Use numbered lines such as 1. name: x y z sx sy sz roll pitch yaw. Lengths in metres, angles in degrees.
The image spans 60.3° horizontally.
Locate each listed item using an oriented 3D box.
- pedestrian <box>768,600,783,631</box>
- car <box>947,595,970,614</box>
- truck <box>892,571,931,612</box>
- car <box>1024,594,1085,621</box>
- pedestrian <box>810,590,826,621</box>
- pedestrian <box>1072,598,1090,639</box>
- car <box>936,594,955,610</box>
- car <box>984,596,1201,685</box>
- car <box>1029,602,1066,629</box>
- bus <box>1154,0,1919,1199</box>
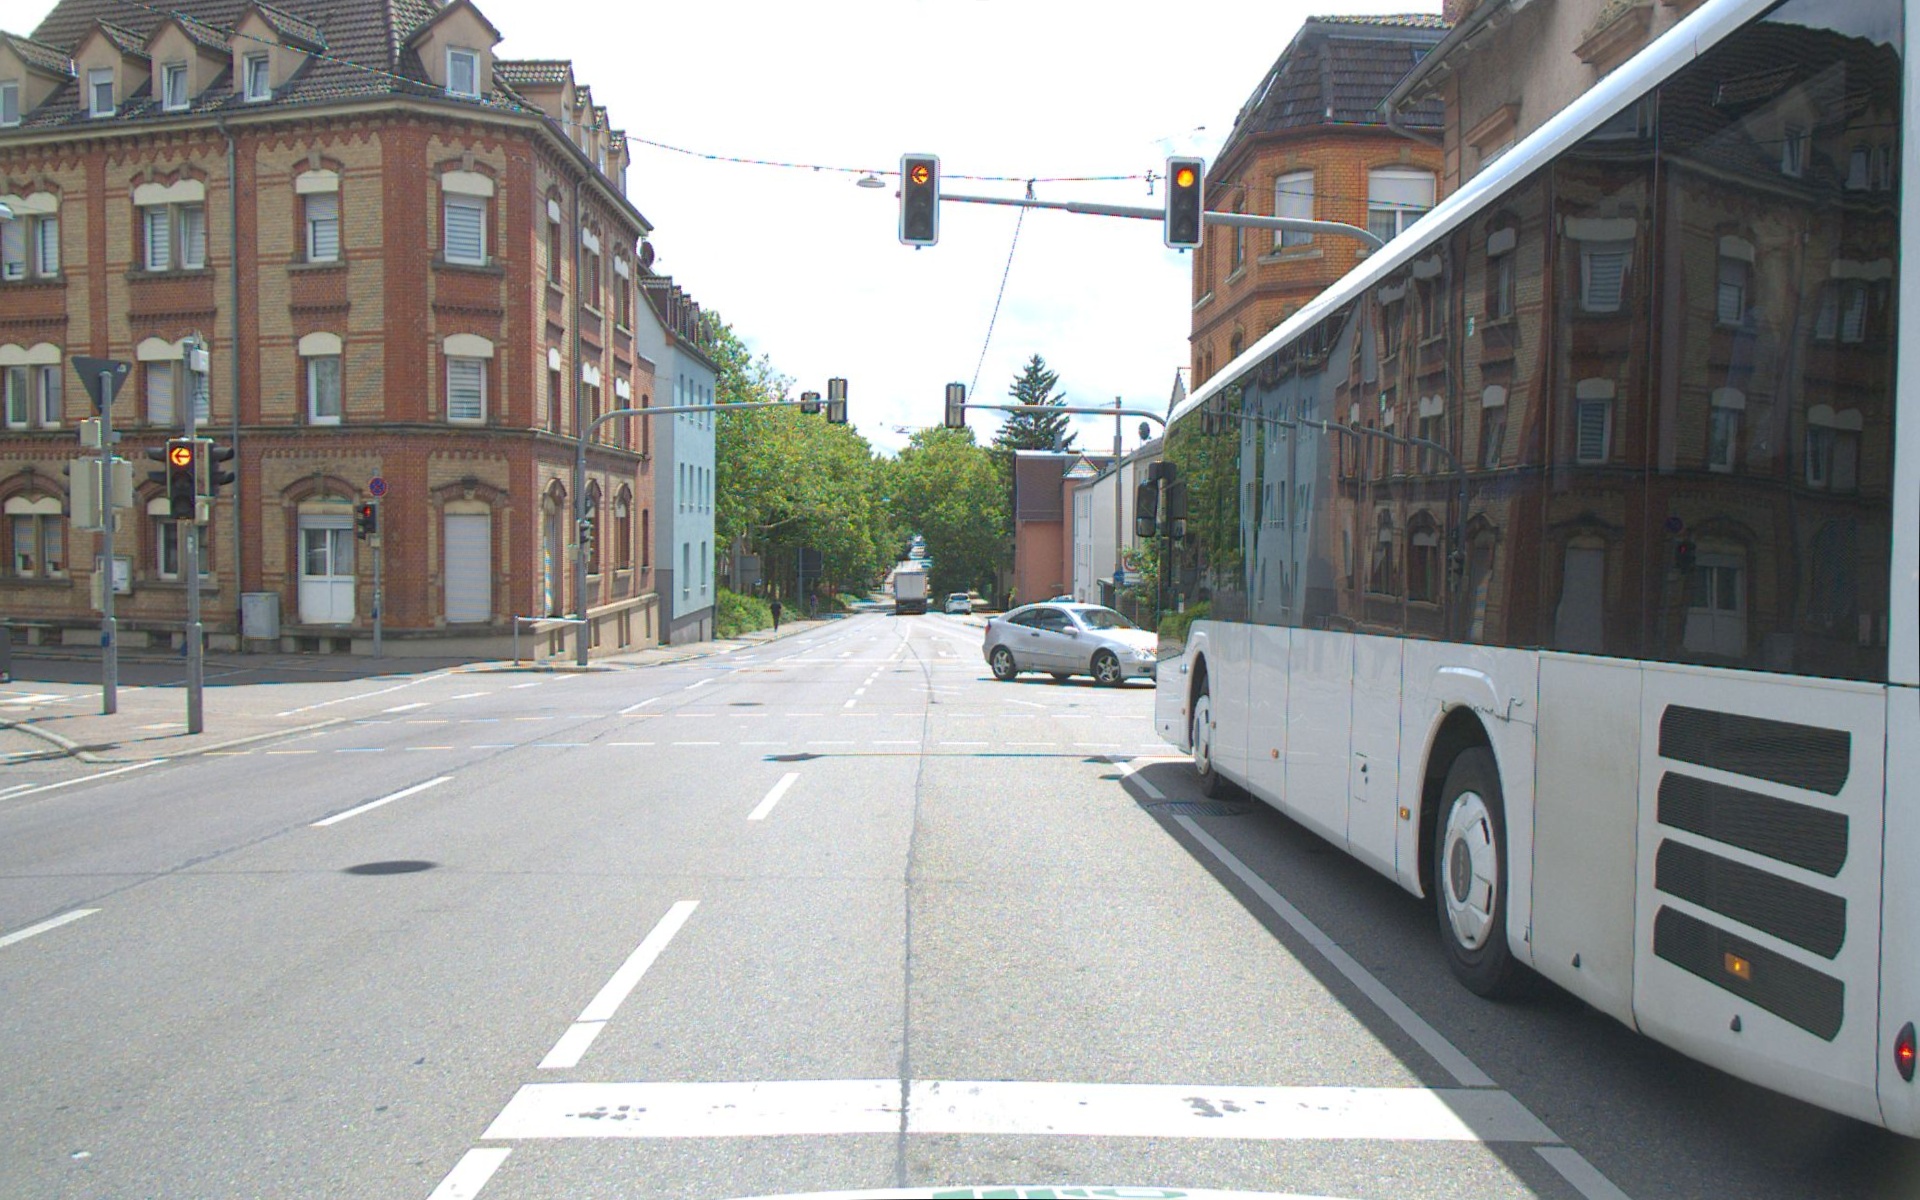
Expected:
1. pedestrian: -9.351 0.776 83.818 0.714 1.592 0.560 0 0 -2
2. car: -0.116 0.316 129.540 1.758 1.434 3.999 1 0 -1
3. truck: -3.948 -0.712 133.155 2.868 3.135 7.881 -1 0 -3
4. car: 6.478 0.496 113.282 3.909 1.788 1.998 -1 0 -6
5. pedestrian: -9.615 0.372 111.948 0.974 2.049 1.188 0 0 -1
6. pedestrian: 5.377 0.825 73.709 0.723 1.781 0.619 -1 0 -1
7. car: -1.343 0.166 153.931 1.757 1.434 4.418 1 0 0
8. car: 2.305 0.678 29.626 1.687 1.452 3.945 -1 0 -38
9. car: 4.907 0.843 93.157 1.758 1.434 3.999 -1 1 -2
10. bus: 3.230 -0.123 9.298 2.618 3.211 12.460 1 0 -1
